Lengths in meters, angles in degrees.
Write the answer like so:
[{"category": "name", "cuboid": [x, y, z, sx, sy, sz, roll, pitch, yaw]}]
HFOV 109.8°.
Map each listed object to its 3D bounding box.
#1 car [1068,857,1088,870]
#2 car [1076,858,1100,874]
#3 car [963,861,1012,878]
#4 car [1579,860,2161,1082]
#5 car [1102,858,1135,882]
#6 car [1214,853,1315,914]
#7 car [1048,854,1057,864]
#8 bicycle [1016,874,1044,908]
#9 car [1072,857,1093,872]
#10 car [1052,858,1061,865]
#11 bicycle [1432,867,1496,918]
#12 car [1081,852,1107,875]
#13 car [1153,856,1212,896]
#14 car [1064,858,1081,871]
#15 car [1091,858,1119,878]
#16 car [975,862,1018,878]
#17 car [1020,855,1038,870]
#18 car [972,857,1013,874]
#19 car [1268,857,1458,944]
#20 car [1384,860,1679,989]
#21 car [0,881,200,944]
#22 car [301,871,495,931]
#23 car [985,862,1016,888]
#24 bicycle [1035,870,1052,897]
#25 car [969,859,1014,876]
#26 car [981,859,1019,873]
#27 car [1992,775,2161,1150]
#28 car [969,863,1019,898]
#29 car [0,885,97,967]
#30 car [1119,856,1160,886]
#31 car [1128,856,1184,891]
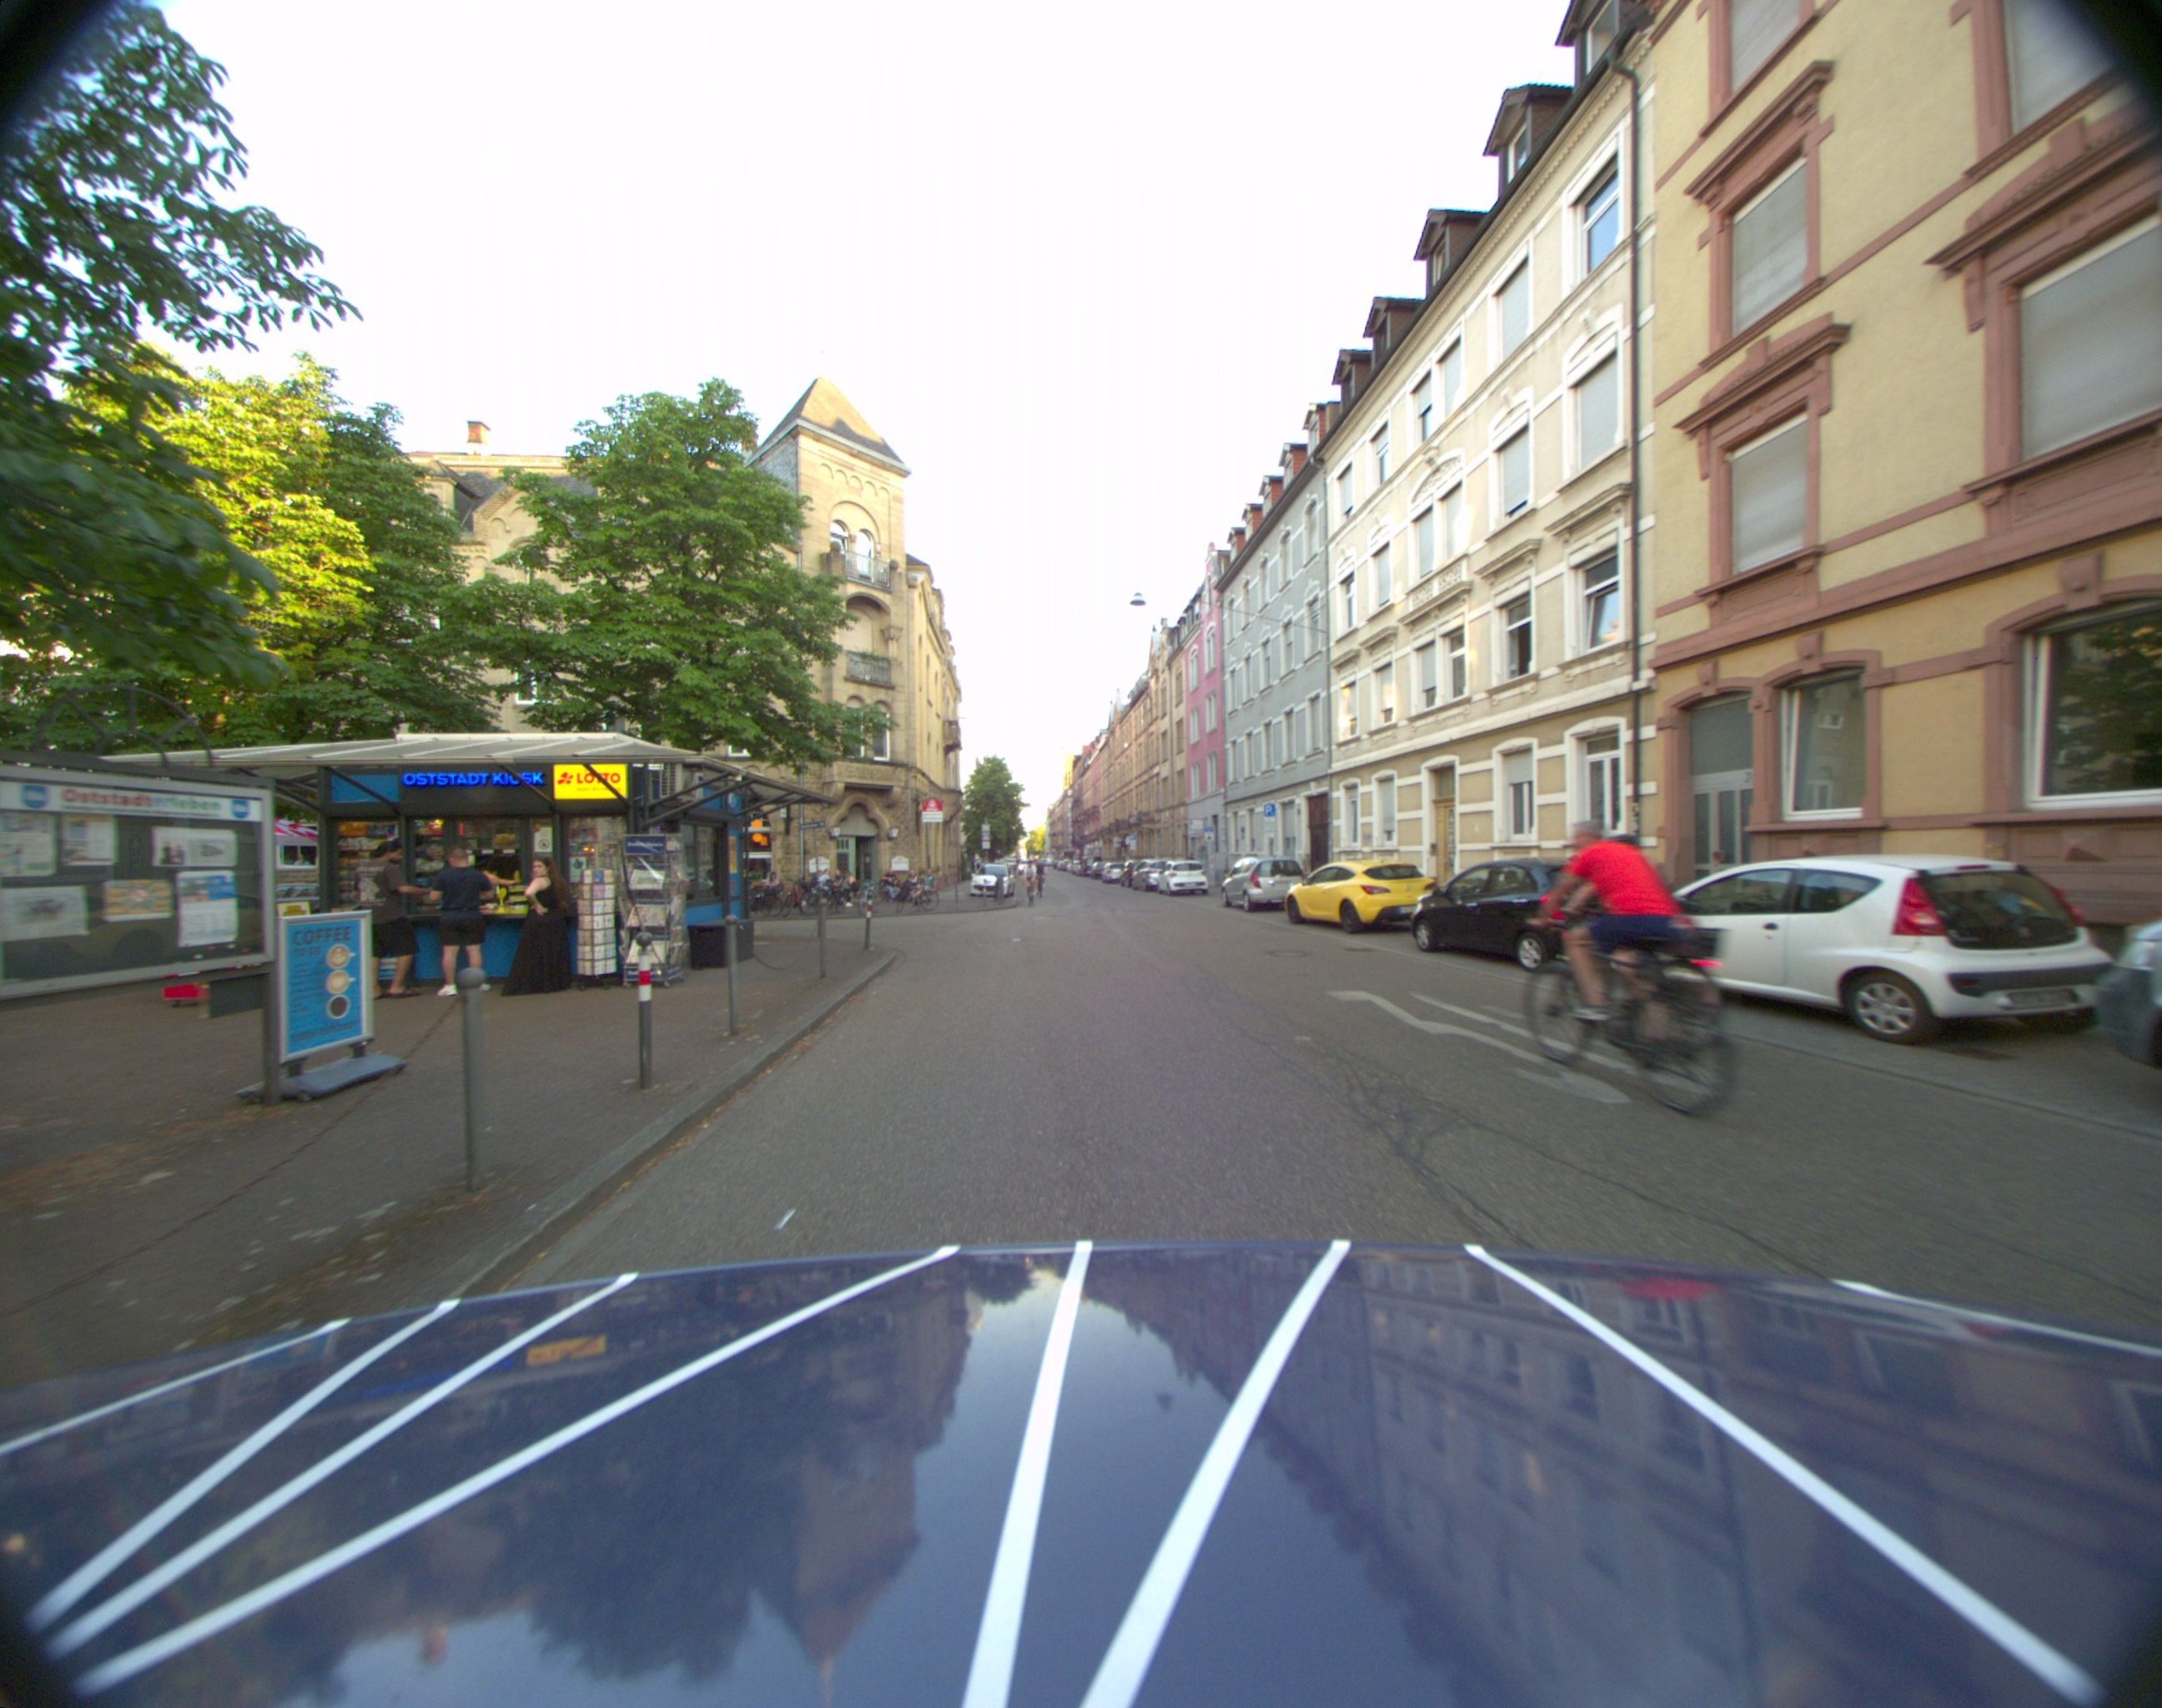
[{"category": "car", "cuboid": [-0.398, 1.188, 94.776, 1.758, 1.426, 4.055, -6, 0, -7]}, {"category": "car", "cuboid": [0.701, 1.218, 78.170, 1.758, 1.466, 4.055, -6, 0, -7]}, {"category": "car", "cuboid": [-8.338, 1.368, 68.184, 4.303, 1.443, 1.822, -1, 0, -5]}, {"category": "car", "cuboid": [6.931, 0.849, 7.288, 1.689, 1.482, 3.612, -3, 0, -5]}, {"category": "car", "cuboid": [2.633, 1.129, 54.465, 1.758, 1.466, 4.056, -6, 0, -3]}, {"category": "car", "cuboid": [5.417, 0.821, 23.033, 1.805, 1.583, 4.144, -3, 0, -3]}, {"category": "car", "cuboid": [-7.093, 1.245, 188.429, 1.758, 2.264, 4.056, -6, 0, -4]}, {"category": "bicycle", "cuboid": [-1.847, 1.325, 27.707, 0.685, 1.144, 2.116, -1, 0, 5]}, {"category": "car", "cuboid": [0.137, 1.177, 85.743, 1.758, 1.466, 4.055, -6, 0, -7]}, {"category": "car", "cuboid": [-5.836, 1.650, 178.965, 1.758, 1.426, 4.056, -6, 0, -4]}, {"category": "bicycle", "cuboid": [9.154, 0.886, 18.229, 0.481, 1.133, 1.863, -1, 0, -3]}, {"category": "car", "cuboid": [1.248, 0.901, 73.040, 1.875, 1.949, 4.290, -4, 0, -6]}, {"category": "car", "cuboid": [4.435, 0.941, 33.750, 1.758, 1.567, 3.926, -3, 0, -4]}, {"category": "car", "cuboid": [-1.237, 1.456, 105.054, 1.758, 1.663, 4.055, -6, 0, -7]}, {"category": "car", "cuboid": [1.973, 1.148, 63.511, 1.758, 1.466, 4.278, -6, 0, -5]}, {"category": "car", "cuboid": [-8.514, 1.608, 76.790, 4.303, 1.519, 1.822, -1, 0, -5]}, {"category": "car", "cuboid": [-6.274, 0.997, 91.371, 1.958, 1.729, 4.283, -3, 0, -5]}, {"category": "car", "cuboid": [-9.488, 1.234, 82.066, 4.303, 1.666, 1.822, -1, 0, -5]}, {"category": "car", "cuboid": [5.883, 0.884, 16.602, 1.844, 1.517, 4.799, -3, 0, -7]}, {"category": "car", "cuboid": [6.316, 0.869, 11.209, 1.734, 1.482, 3.740, -3, 0, -8]}, {"category": "car", "cuboid": [-27.560, 1.592, 21.021, 3.906, 1.475, 1.825, -2, 0, -7]}, {"category": "car", "cuboid": [-19.915, 1.343, 22.288, 3.905, 1.475, 1.826, -2, 0, -2]}, {"category": "car", "cuboid": [-4.856, 1.248, 46.117, 1.769, 1.476, 4.555, 1, 0, -5]}, {"category": "bicycle", "cuboid": [-1.718, 1.320, 34.662, 0.686, 1.144, 2.114, -1, 0, -4]}, {"category": "car", "cuboid": [-8.704, 1.340, 74.372, 4.303, 1.519, 1.822, -1, 0, -5]}, {"category": "car", "cuboid": [-9.248, 1.415, 87.227, 4.303, 1.519, 1.822, -1, 0, -5]}, {"category": "car", "cuboid": [6.982, 0.543, 2.386, 2.046, 2.045, 5.003, -3, 0, -4]}, {"category": "car", "cuboid": [-3.969, 1.176, 35.239, 1.768, 1.476, 4.463, 2, 0, 0]}, {"category": "car", "cuboid": [-22.126, 1.439, 14.542, 3.906, 1.475, 1.825, -2, 0, -5]}, {"category": "car", "cuboid": [3.421, 0.973, 45.080, 1.758, 1.583, 4.056, -3, 0, -4]}, {"category": "car", "cuboid": [3.767, 0.947, 38.872, 1.838, 1.583, 4.670, -3, 0, -7]}]
